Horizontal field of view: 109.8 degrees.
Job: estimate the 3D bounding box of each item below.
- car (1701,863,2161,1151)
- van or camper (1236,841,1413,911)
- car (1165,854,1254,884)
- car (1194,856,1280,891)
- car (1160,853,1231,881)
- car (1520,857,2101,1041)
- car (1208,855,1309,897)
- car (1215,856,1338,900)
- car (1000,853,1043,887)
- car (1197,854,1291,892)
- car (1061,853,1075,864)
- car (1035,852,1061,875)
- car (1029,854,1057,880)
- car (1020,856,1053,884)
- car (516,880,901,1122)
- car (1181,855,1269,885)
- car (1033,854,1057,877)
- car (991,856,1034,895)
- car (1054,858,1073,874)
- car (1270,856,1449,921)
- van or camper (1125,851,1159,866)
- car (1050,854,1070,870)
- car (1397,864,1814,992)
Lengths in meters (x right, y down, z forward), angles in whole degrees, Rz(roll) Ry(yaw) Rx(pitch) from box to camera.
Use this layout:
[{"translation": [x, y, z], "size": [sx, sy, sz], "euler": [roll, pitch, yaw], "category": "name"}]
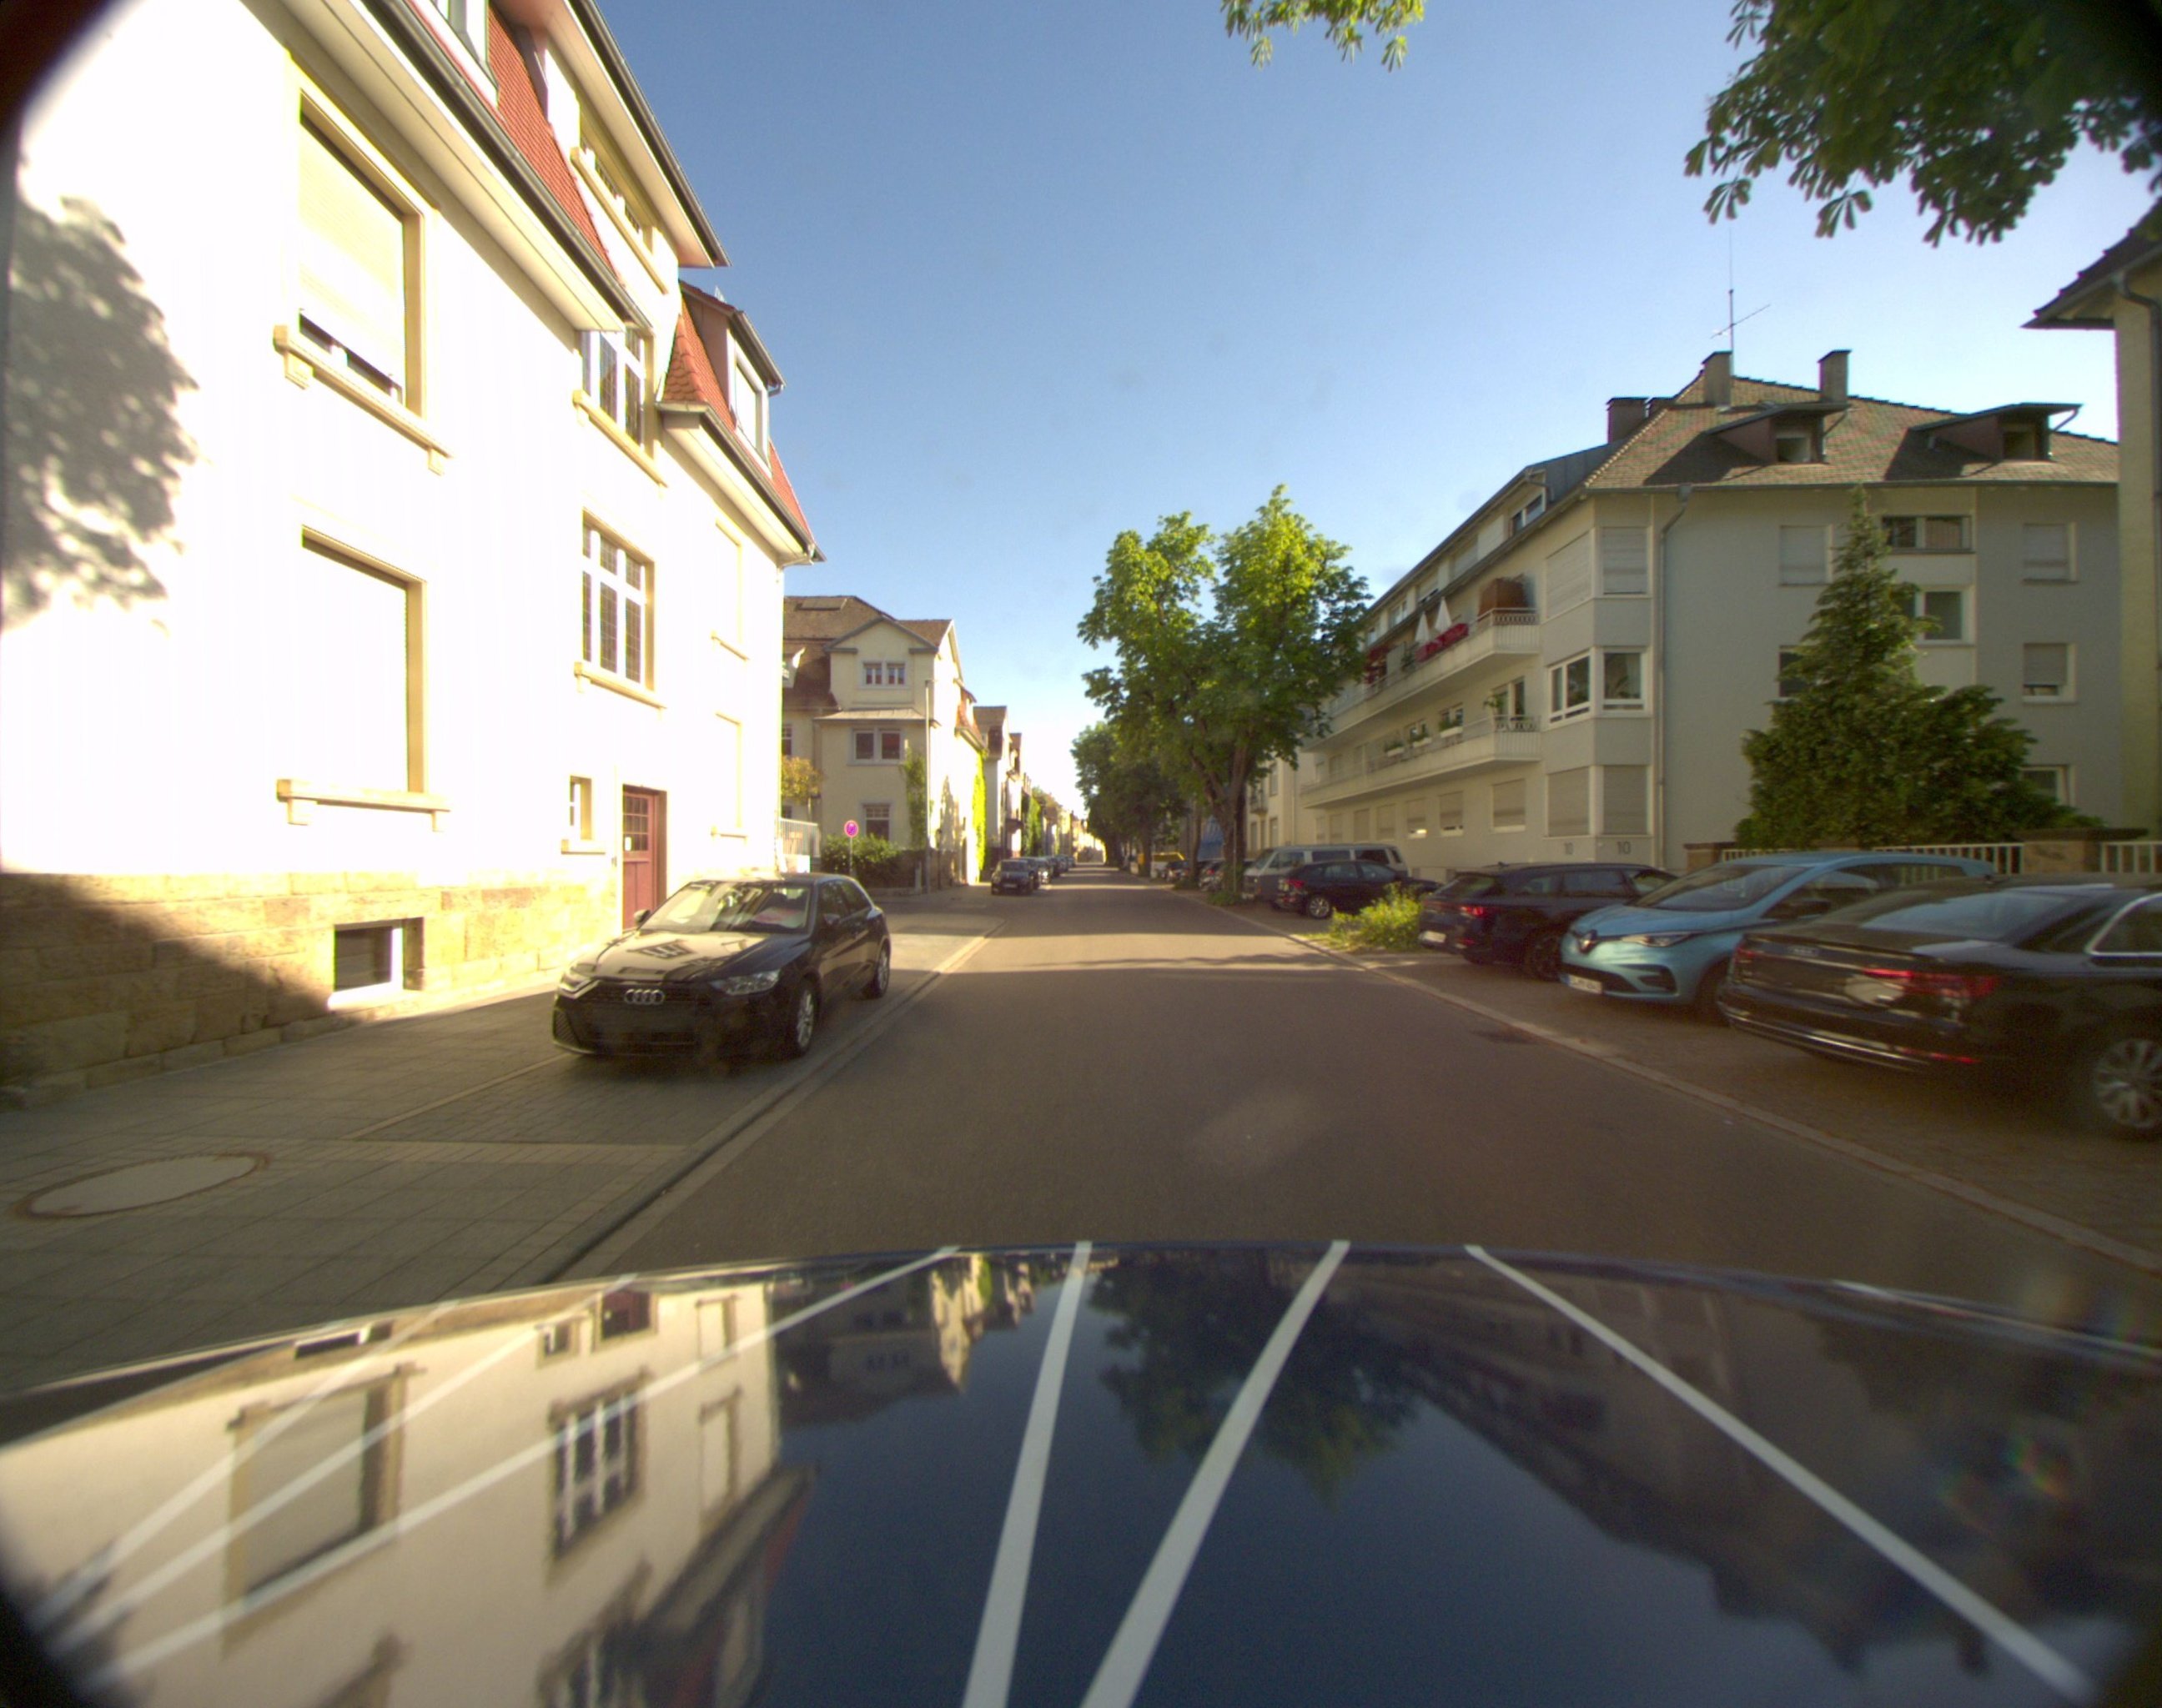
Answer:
[{"translation": [6.573, 0.798, 4.756], "size": [3.997, 1.460, 1.697], "euler": [0, 0, 0], "category": "car"}, {"translation": [6.946, 0.611, 22.046], "size": [4.508, 1.903, 1.964], "euler": [0, 1, 0], "category": "van or camper"}, {"translation": [7.102, 0.808, 42.277], "size": [4.601, 1.598, 1.832], "euler": [0, 1, -2], "category": "car"}, {"translation": [7.135, 0.856, 34.924], "size": [3.488, 1.412, 1.709], "euler": [-2, 1, -5], "category": "car"}, {"translation": [6.987, 0.781, 46.664], "size": [3.883, 1.505, 1.831], "euler": [-3, 1, -8], "category": "car"}, {"translation": [6.886, 0.824, 7.532], "size": [3.997, 1.583, 1.878], "euler": [0, 0, -1], "category": "car"}, {"translation": [6.879, 0.832, 29.704], "size": [3.486, 1.449, 1.797], "euler": [-2, 1, 2], "category": "car"}, {"translation": [6.946, 0.829, 27.278], "size": [3.932, 1.406, 1.715], "euler": [-2, 0, -2], "category": "car"}, {"translation": [-2.977, 0.782, 38.675], "size": [1.796, 1.511, 4.366], "euler": [1, 1, 0], "category": "car"}, {"translation": [6.891, 0.812, 32.443], "size": [3.652, 1.454, 1.710], "euler": [-2, 1, 2], "category": "car"}, {"translation": [-1.973, 0.703, 115.909], "size": [1.813, 1.546, 4.107], "euler": [0, 0, 3], "category": "car"}, {"translation": [-2.614, 0.737, 61.352], "size": [1.782, 1.686, 4.319], "euler": [-2, 1, 1], "category": "car"}, {"translation": [-2.467, 0.832, 49.793], "size": [1.579, 1.540, 3.468], "euler": [1, 1, 0], "category": "car"}, {"translation": [-2.595, 0.897, 45.120], "size": [1.713, 1.428, 4.192], "euler": [2, 1, 0], "category": "car"}, {"translation": [-2.936, 1.051, 7.010], "size": [1.624, 1.431, 3.934], "euler": [2, 0, -1], "category": "car"}, {"translation": [7.355, 0.815, 39.170], "size": [4.198, 1.433, 1.713], "euler": [0, 1, -1], "category": "car"}, {"translation": [-2.661, 0.830, 56.391], "size": [1.629, 1.540, 2.869], "euler": [-1, 1, 0], "category": "car"}, {"translation": [-2.925, 0.889, 33.208], "size": [1.667, 1.511, 4.000], "euler": [1, 1, -3], "category": "car"}, {"translation": [-1.644, 1.081, 72.563], "size": [1.648, 1.445, 4.502], "euler": [-1, 0, 0], "category": "car"}, {"translation": [6.988, 0.840, 19.359], "size": [3.954, 1.489, 1.662], "euler": [-1, 0, 3], "category": "car"}, {"translation": [7.427, 0.550, 92.919], "size": [3.954, 1.762, 1.809], "euler": [-1, -1, 0], "category": "van or camper"}, {"translation": [-2.205, 0.793, 81.303], "size": [1.872, 1.635, 4.199], "euler": [0, 0, 1], "category": "car"}, {"translation": [6.625, 0.894, 9.963], "size": [4.197, 1.490, 1.861], "euler": [0, 0, -1], "category": "car"}]
